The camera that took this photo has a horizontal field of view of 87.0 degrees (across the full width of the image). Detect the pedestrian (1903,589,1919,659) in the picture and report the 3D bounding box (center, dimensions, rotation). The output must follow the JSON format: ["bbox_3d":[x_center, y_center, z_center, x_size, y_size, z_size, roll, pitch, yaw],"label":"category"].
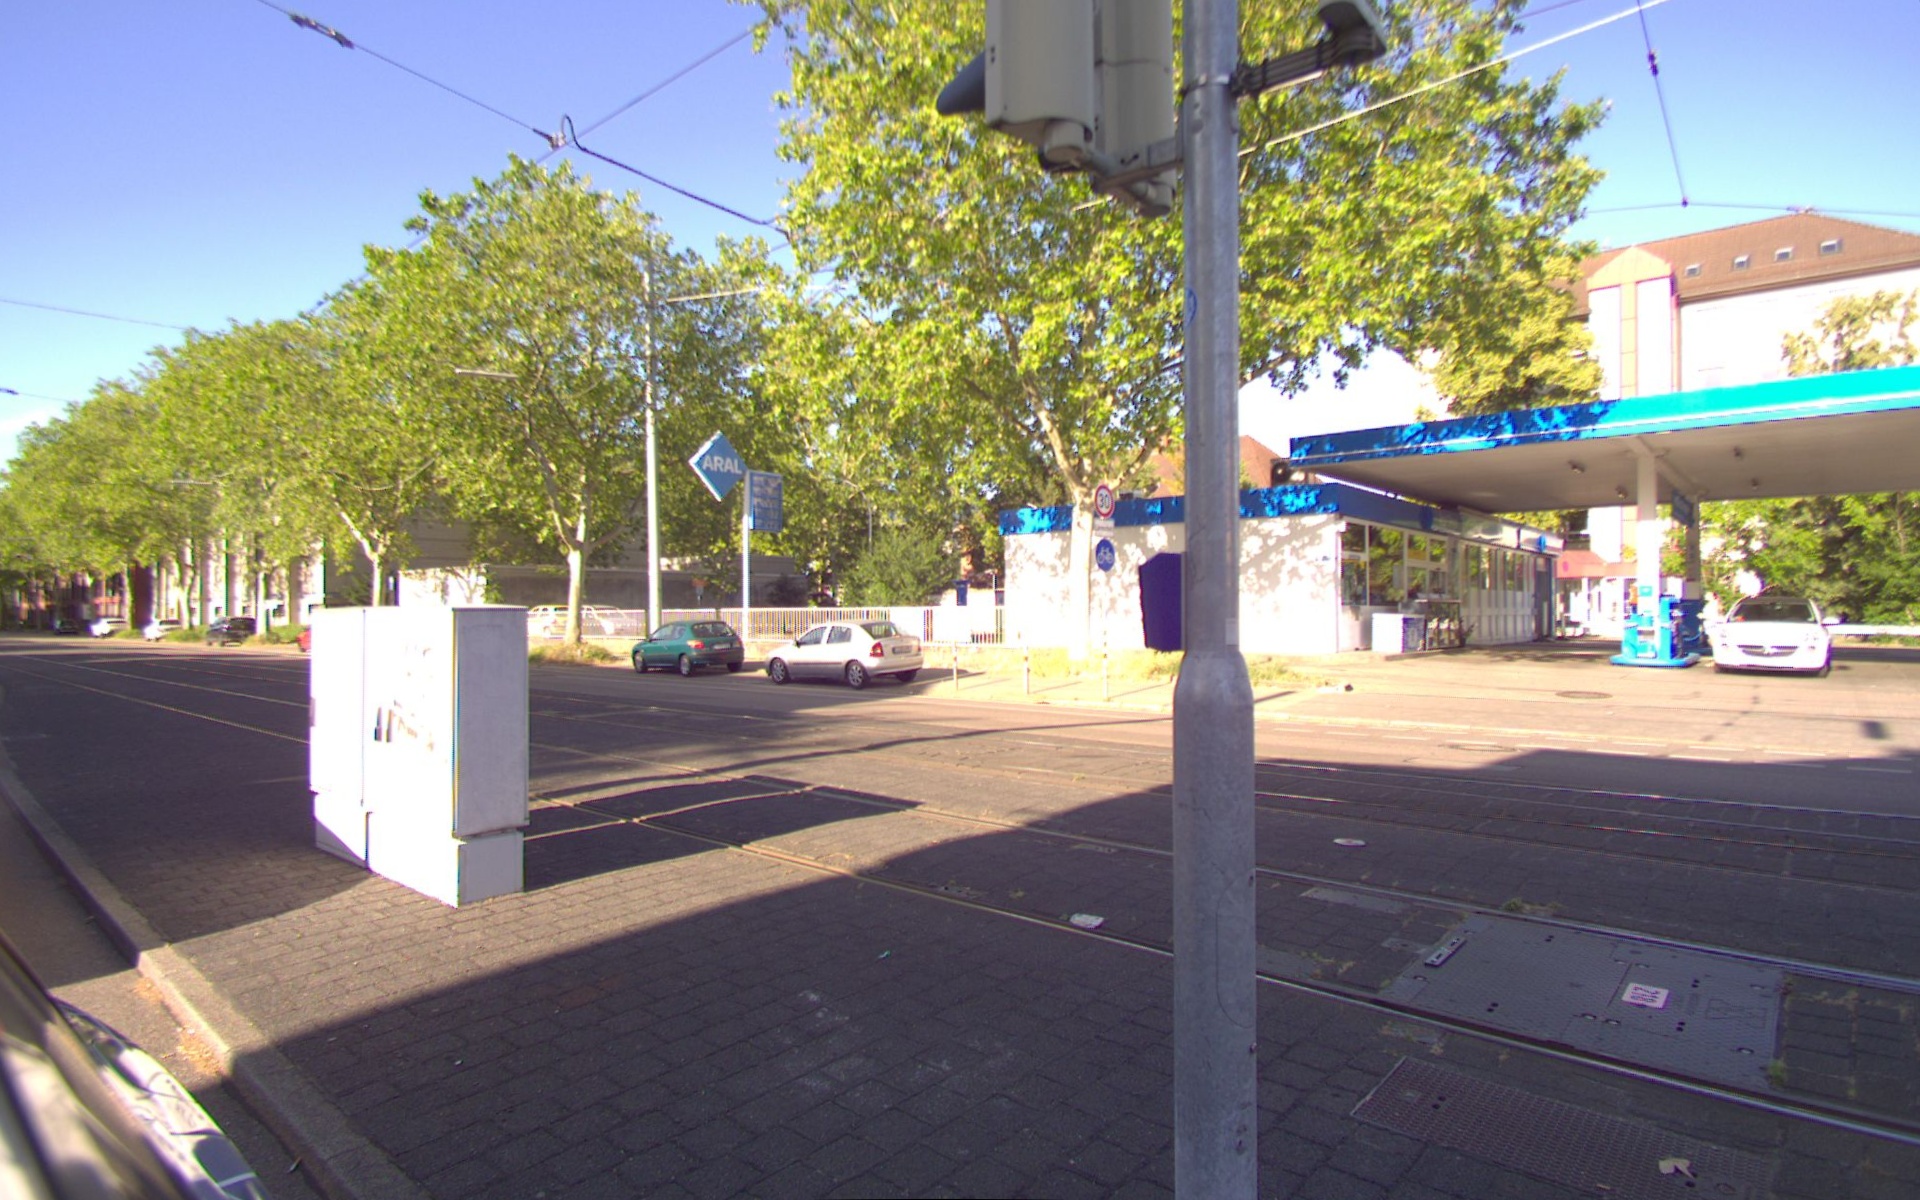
[{"bbox_3d":[25.474,0.616,26.427,0.887,1.815,0.907,-1,-1,15],"label":"pedestrian"}]

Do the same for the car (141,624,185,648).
[{"bbox_3d":[-53.639,2.406,68.115,3.858,1.495,1.735,-1,0,43],"label":"car"}]

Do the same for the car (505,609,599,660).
[{"bbox_3d":[-17.044,1.399,42.258,3.996,2.029,1.974,-1,-1,39],"label":"car"}]

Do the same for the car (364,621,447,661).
[{"bbox_3d":[-21.984,1.593,40.087,3.858,1.468,1.735,-1,0,43],"label":"car"}]

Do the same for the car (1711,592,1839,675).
[{"bbox_3d":[15.943,0.617,19.780,1.793,1.453,3.946,-1,-1,40],"label":"car"}]

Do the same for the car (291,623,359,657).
[{"bbox_3d":[-28.911,1.779,46.041,3.858,1.440,1.695,-1,0,43],"label":"car"}]

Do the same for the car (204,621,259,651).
[{"bbox_3d":[-40.675,1.962,56.480,3.858,1.557,1.735,-1,0,43],"label":"car"}]

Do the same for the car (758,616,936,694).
[{"bbox_3d":[-2.572,1.170,22.593,3.857,1.497,1.823,-1,1,42],"label":"car"}]

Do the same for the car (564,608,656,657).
[{"bbox_3d":[-15.145,1.369,43.686,3.996,2.029,1.974,-1,-1,39],"label":"car"}]

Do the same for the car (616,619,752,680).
[{"bbox_3d":[-7.432,1.278,27.072,3.858,1.408,1.722,-1,1,43],"label":"car"}]

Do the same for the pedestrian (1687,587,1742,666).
[{"bbox_3d":[16.056,0.559,21.544,0.637,1.642,0.814,1,-2,-42],"label":"pedestrian"}]

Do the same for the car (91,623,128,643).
[{"bbox_3d":[-66.927,2.588,79.635,3.858,1.495,1.735,-1,0,43],"label":"car"}]

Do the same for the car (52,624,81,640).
[{"bbox_3d":[-84.875,3.022,96.108,3.858,1.495,1.735,-1,0,43],"label":"car"}]
